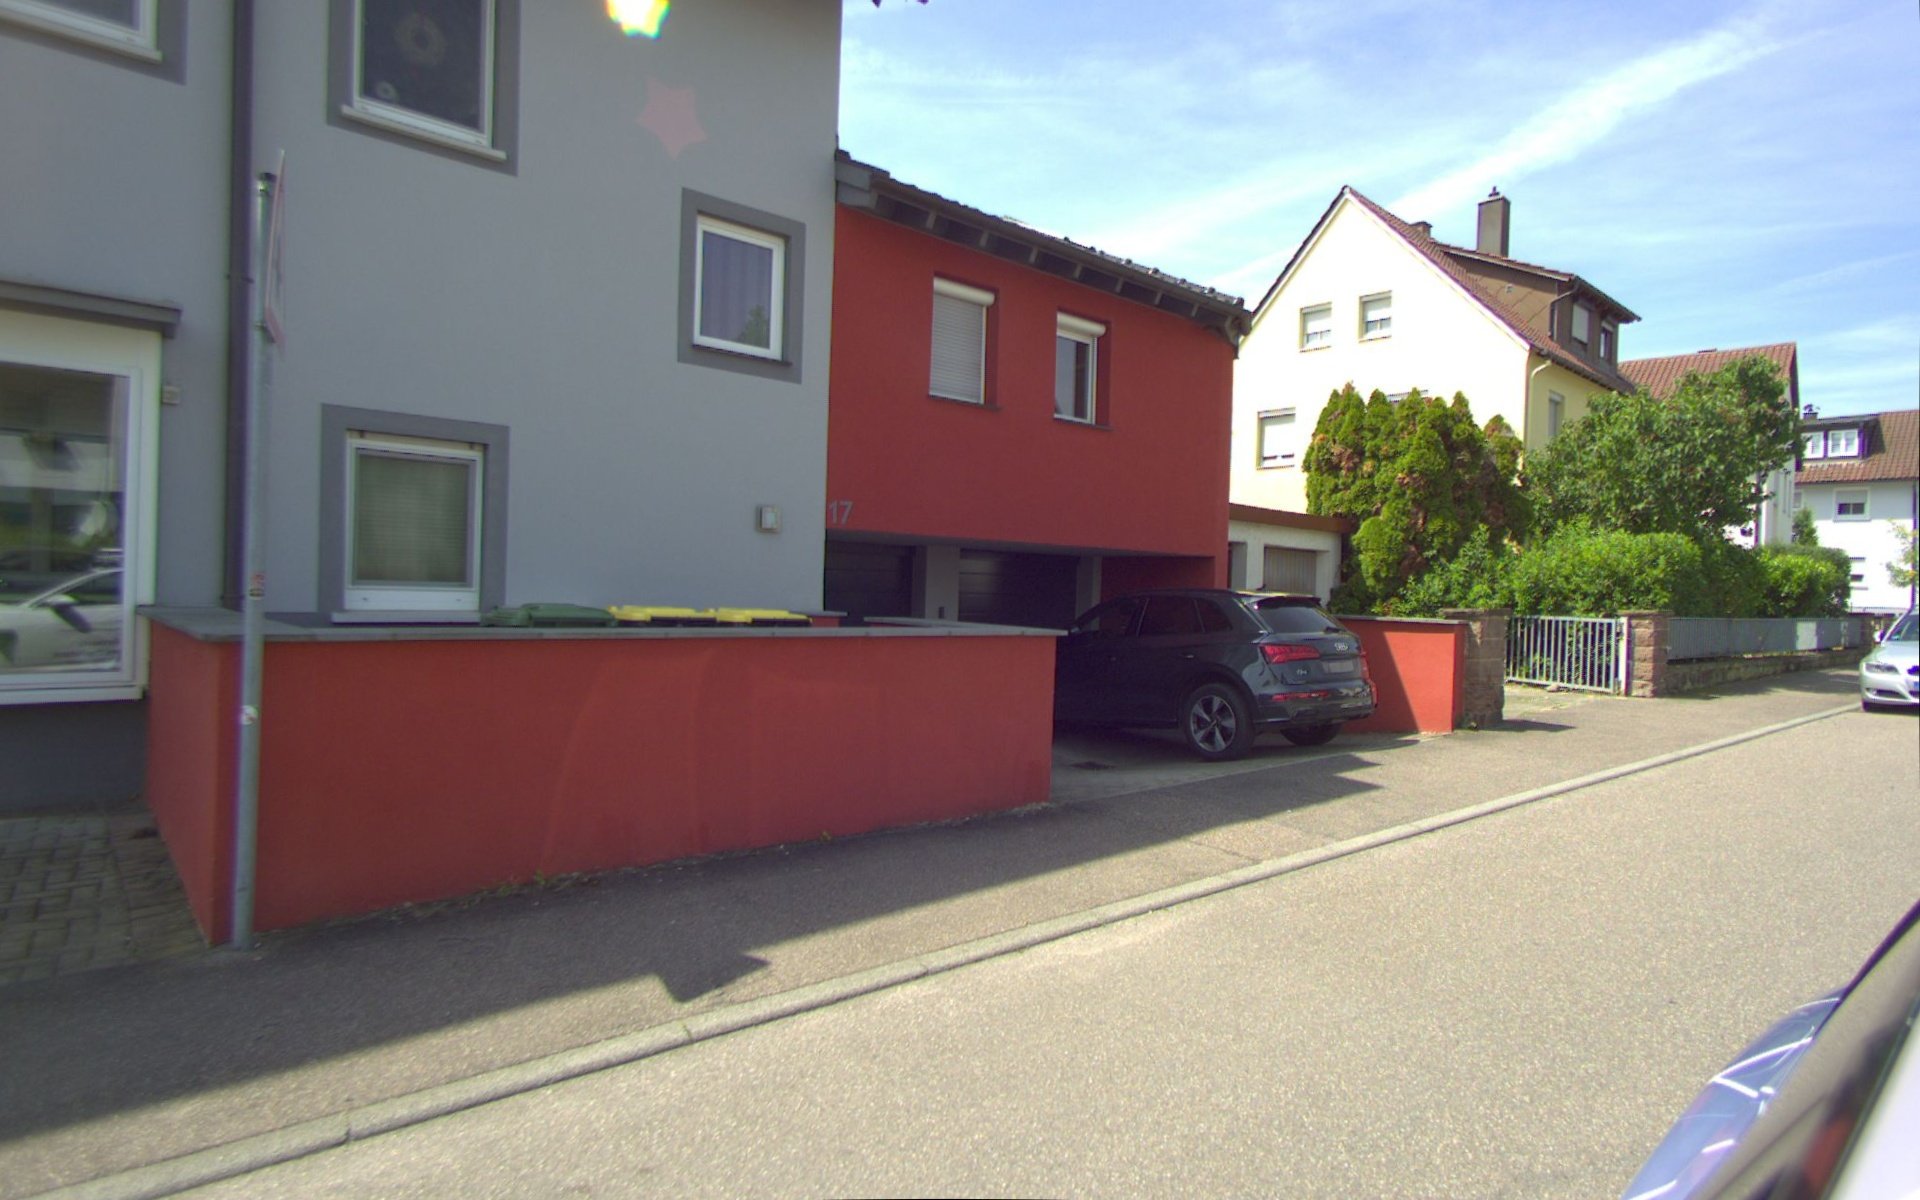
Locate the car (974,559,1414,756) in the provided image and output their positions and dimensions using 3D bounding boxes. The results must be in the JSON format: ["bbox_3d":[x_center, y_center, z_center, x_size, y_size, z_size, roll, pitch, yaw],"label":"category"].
[{"bbox_3d":[2.287,0.659,10.975,1.843,1.691,4.374,0,-5,-39],"label":"car"}]

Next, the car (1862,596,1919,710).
[{"bbox_3d":[14.071,0.666,13.928,4.340,1.439,1.755,0,-1,-39],"label":"car"}]
